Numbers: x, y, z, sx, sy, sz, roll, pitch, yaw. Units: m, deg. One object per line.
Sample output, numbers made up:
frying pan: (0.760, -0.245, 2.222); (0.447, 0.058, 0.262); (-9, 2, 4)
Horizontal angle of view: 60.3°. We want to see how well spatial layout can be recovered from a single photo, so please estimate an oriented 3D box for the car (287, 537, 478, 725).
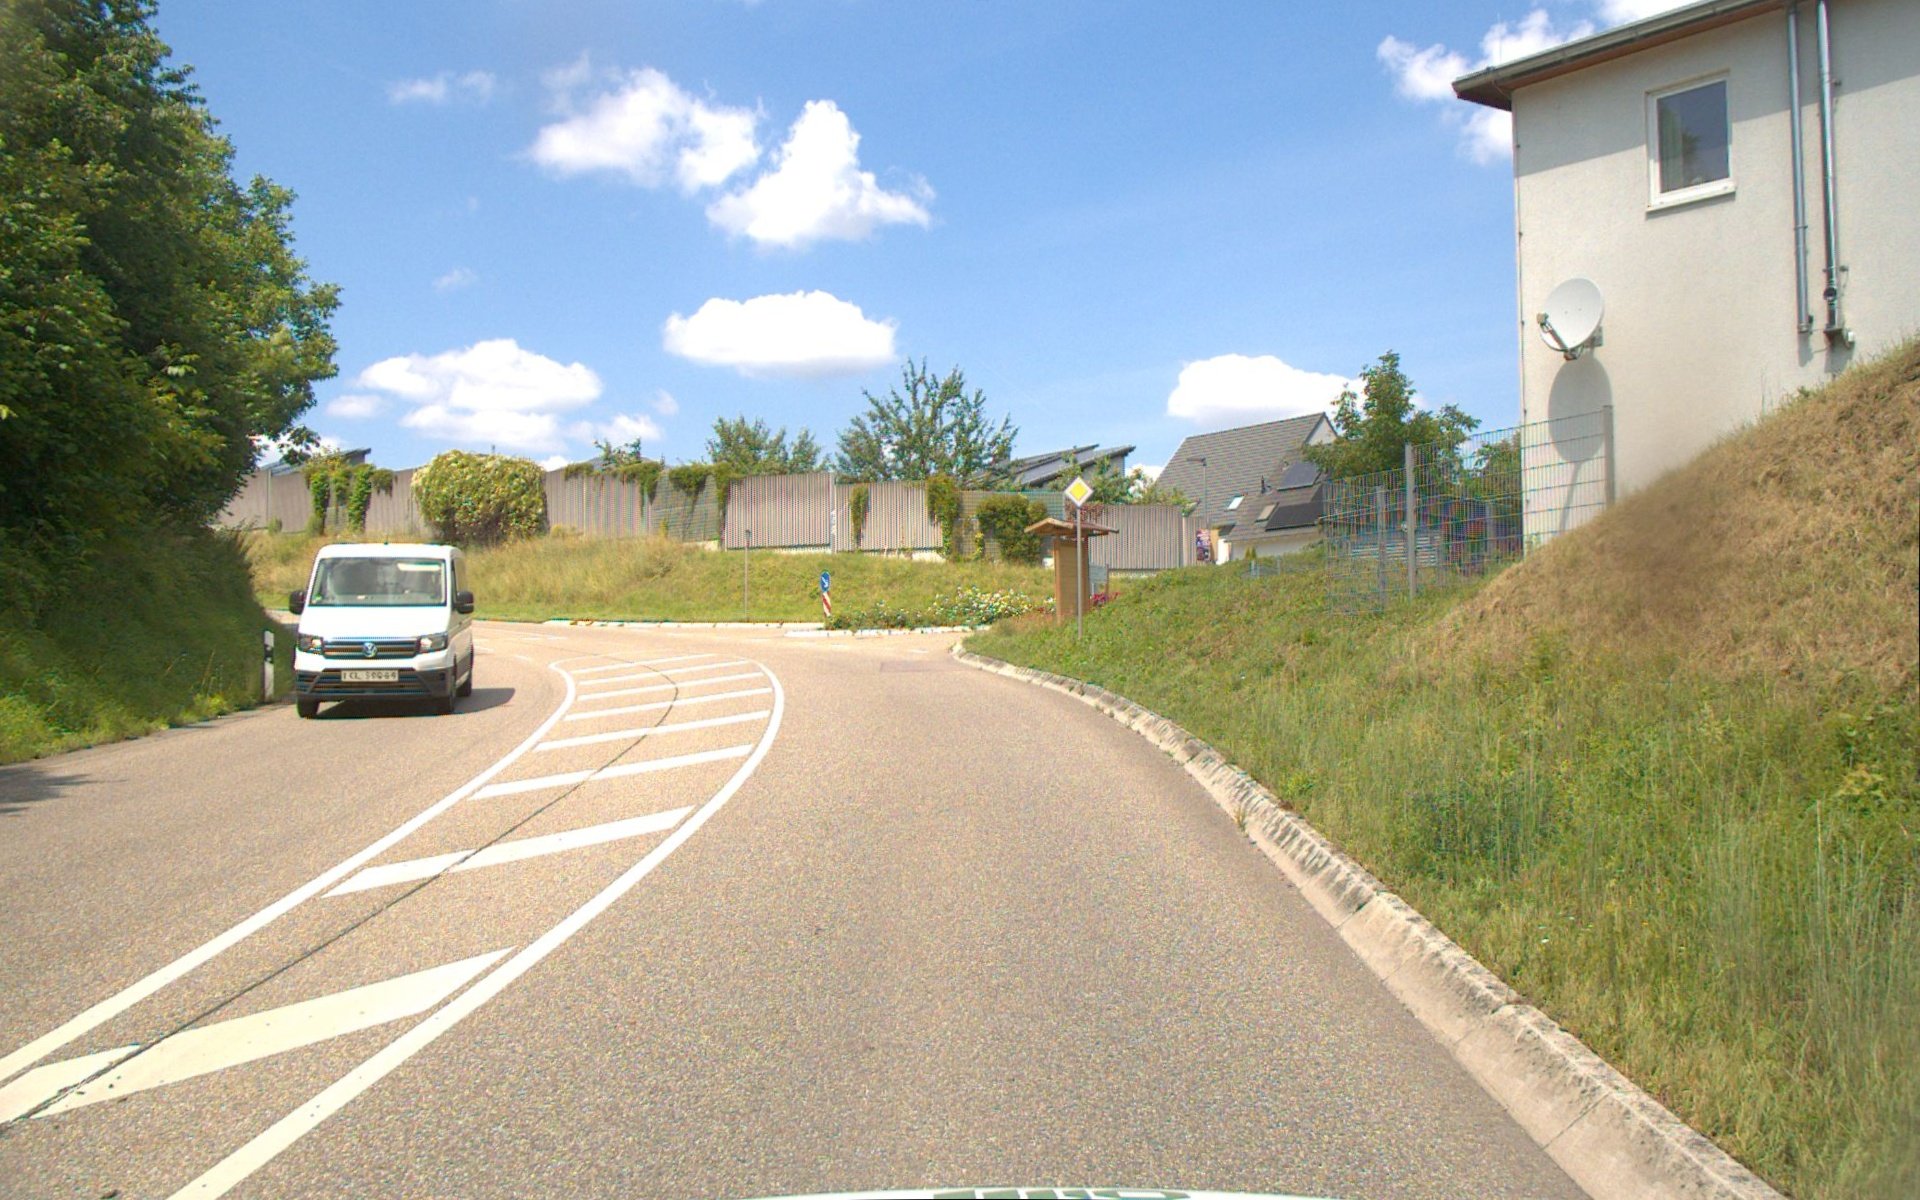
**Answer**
car: (-8.120, 0.405, 23.788); (2.051, 2.330, 5.923); (-1, 0, -14)
